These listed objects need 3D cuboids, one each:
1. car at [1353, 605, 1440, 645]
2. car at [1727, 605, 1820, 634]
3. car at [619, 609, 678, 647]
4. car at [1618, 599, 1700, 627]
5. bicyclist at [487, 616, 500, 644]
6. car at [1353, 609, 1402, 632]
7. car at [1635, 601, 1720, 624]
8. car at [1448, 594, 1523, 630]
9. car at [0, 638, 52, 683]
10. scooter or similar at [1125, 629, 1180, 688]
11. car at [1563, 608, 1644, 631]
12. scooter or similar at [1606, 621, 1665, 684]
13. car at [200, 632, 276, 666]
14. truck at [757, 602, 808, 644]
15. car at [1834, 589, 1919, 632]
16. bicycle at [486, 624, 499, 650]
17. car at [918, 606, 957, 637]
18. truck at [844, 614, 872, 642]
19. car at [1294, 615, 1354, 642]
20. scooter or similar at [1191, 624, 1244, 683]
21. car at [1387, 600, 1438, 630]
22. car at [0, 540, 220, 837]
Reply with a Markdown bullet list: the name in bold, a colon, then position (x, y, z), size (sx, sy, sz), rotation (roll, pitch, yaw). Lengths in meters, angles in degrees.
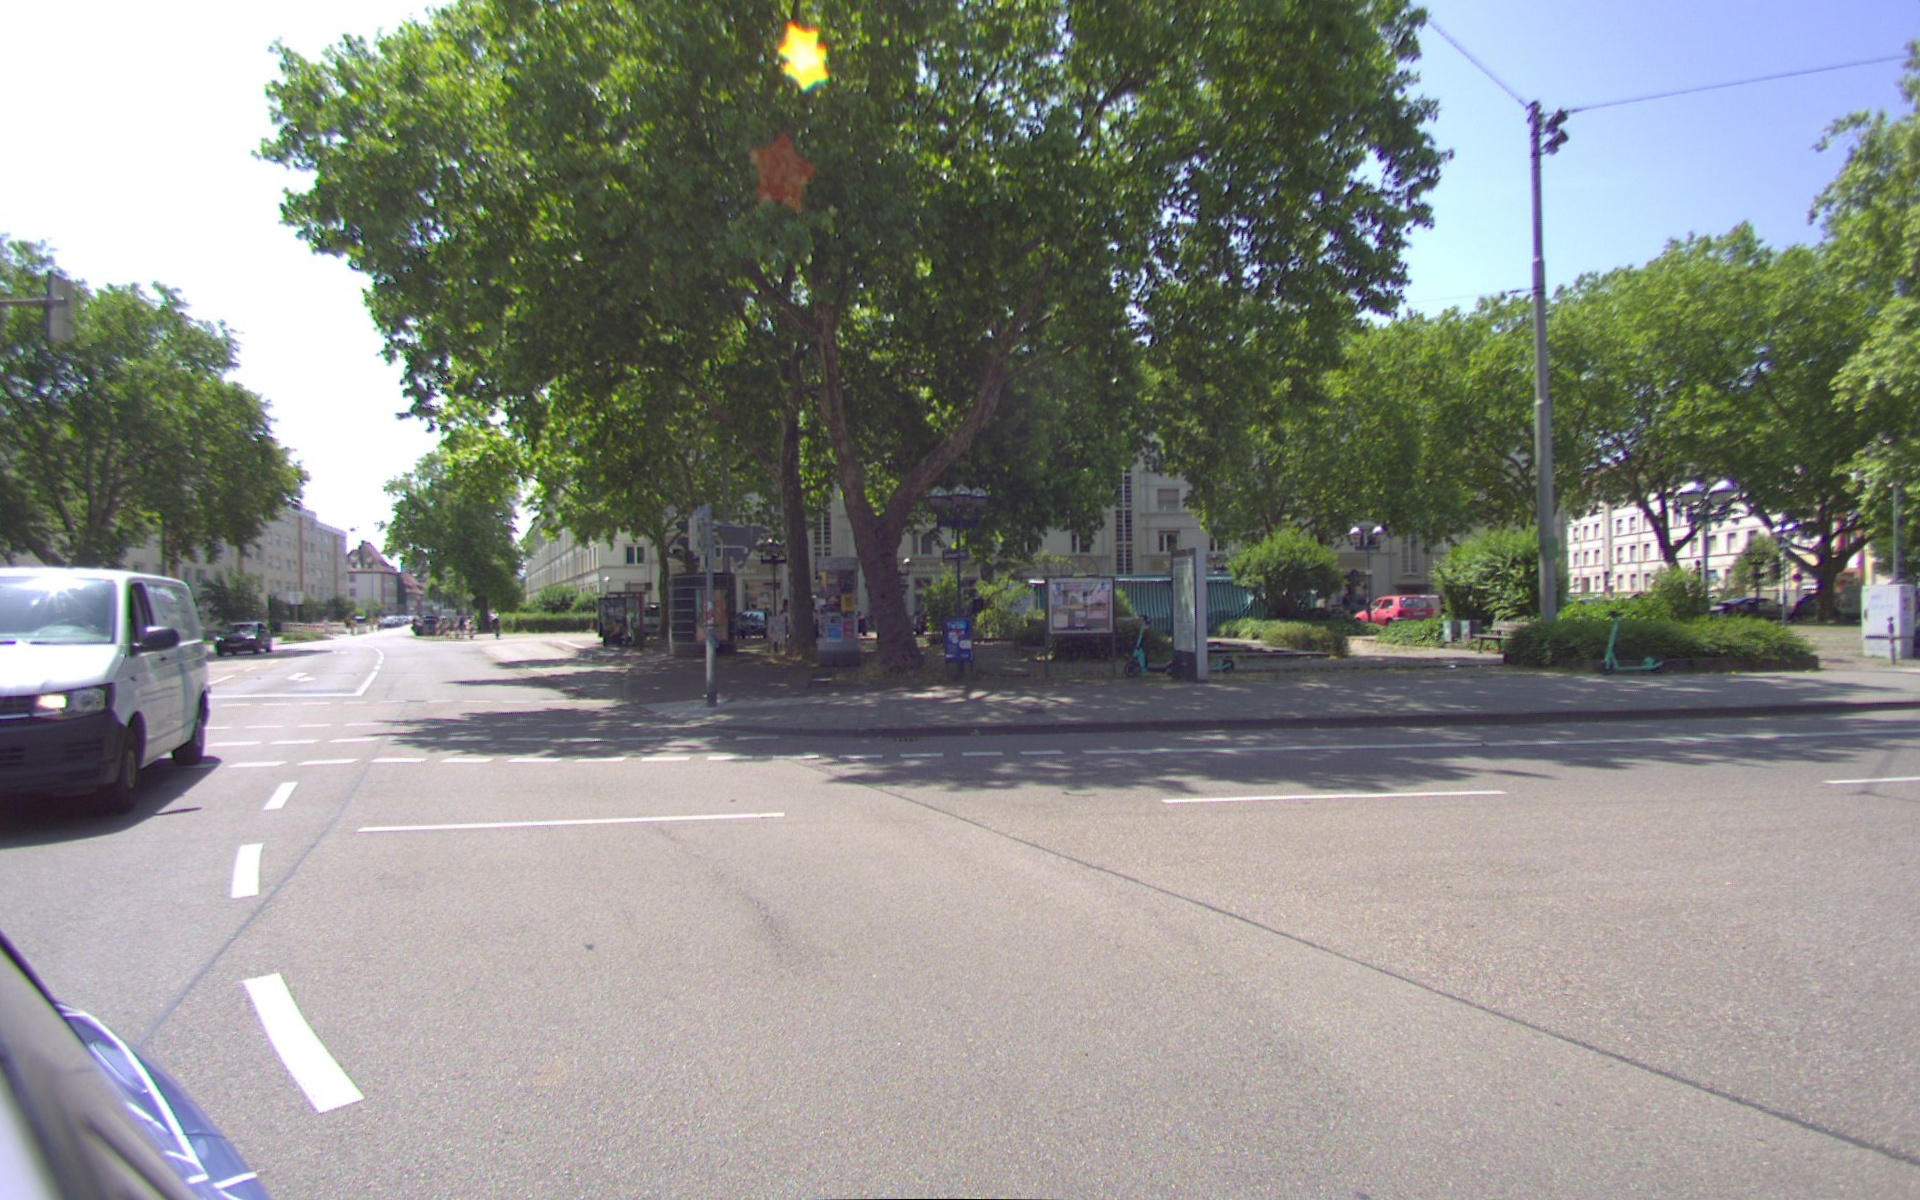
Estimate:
- **car**: position (16.117, 0.884, 37.525), size (1.450, 1.394, 3.349), rotation (-1, 0, -6)
- **car**: position (44.929, 1.045, 55.910), size (3.788, 1.499, 1.927), rotation (-1, -1, -10)
- **car**: position (-16.580, 1.452, 54.014), size (1.971, 1.913, 4.001), rotation (-1, -1, -1)
- **car**: position (40.364, 0.747, 58.563), size (1.707, 1.499, 3.857), rotation (-1, -1, -8)
- **bicyclist**: position (-29.567, 1.914, 64.116), size (0.693, 1.748, 0.790), rotation (-1, 0, -20)
- **car**: position (28.464, 1.386, 69.174), size (1.598, 1.420, 3.928), rotation (-1, 0, -2)
- **car**: position (41.741, 0.735, 58.994), size (1.893, 1.265, 3.857), rotation (-1, -1, -8)
- **car**: position (30.377, 0.677, 58.611), size (2.134, 1.964, 4.002), rotation (-1, 0, -2)
- **car**: position (-31.444, 1.980, 32.487), size (1.773, 1.356, 3.803), rotation (-1, 0, -12)
- **scooter or similar**: position (3.786, 1.147, 19.890), size (1.024, 1.129, 0.257), rotation (-1, -1, 7)
- **car**: position (37.257, 1.105, 58.732), size (1.893, 1.264, 3.857), rotation (-1, 0, -8)
- **scooter or similar**: position (12.299, 0.954, 18.429), size (0.850, 1.129, 0.257), rotation (-1, 0, 7)
- **car**: position (-35.871, 2.405, 50.409), size (1.913, 1.472, 4.070), rotation (-1, 0, -18)
- **truck**: position (-9.578, 1.198, 54.889), size (1.938, 2.138, 4.371), rotation (-1, 0, 1)
- **car**: position (45.891, 0.511, 49.538), size (5.025, 2.005, 1.927), rotation (-1, -1, -10)
- **bicycle**: position (-29.617, 2.350, 64.171), size (0.586, 1.566, 1.849), rotation (-1, 0, -21)
- **car**: position (-1.264, 1.143, 55.520), size (1.906, 1.613, 4.003), rotation (-1, -1, -4)
- **truck**: position (-5.547, 1.514, 54.925), size (1.446, 1.388, 2.987), rotation (-1, 0, -7)
- **car**: position (20.710, 1.613, 57.718), size (1.597, 1.420, 3.932), rotation (-1, 0, -6)
- **scooter or similar**: position (5.047, 1.042, 19.837), size (0.965, 1.129, 0.257), rotation (-1, 0, 7)
- **car**: position (30.990, 1.030, 69.444), size (1.551, 1.964, 3.928), rotation (-1, 0, -2)
- **car**: position (-7.920, 0.728, 8.719), size (1.821, 1.968, 4.958), rotation (-1, -3, -28)
